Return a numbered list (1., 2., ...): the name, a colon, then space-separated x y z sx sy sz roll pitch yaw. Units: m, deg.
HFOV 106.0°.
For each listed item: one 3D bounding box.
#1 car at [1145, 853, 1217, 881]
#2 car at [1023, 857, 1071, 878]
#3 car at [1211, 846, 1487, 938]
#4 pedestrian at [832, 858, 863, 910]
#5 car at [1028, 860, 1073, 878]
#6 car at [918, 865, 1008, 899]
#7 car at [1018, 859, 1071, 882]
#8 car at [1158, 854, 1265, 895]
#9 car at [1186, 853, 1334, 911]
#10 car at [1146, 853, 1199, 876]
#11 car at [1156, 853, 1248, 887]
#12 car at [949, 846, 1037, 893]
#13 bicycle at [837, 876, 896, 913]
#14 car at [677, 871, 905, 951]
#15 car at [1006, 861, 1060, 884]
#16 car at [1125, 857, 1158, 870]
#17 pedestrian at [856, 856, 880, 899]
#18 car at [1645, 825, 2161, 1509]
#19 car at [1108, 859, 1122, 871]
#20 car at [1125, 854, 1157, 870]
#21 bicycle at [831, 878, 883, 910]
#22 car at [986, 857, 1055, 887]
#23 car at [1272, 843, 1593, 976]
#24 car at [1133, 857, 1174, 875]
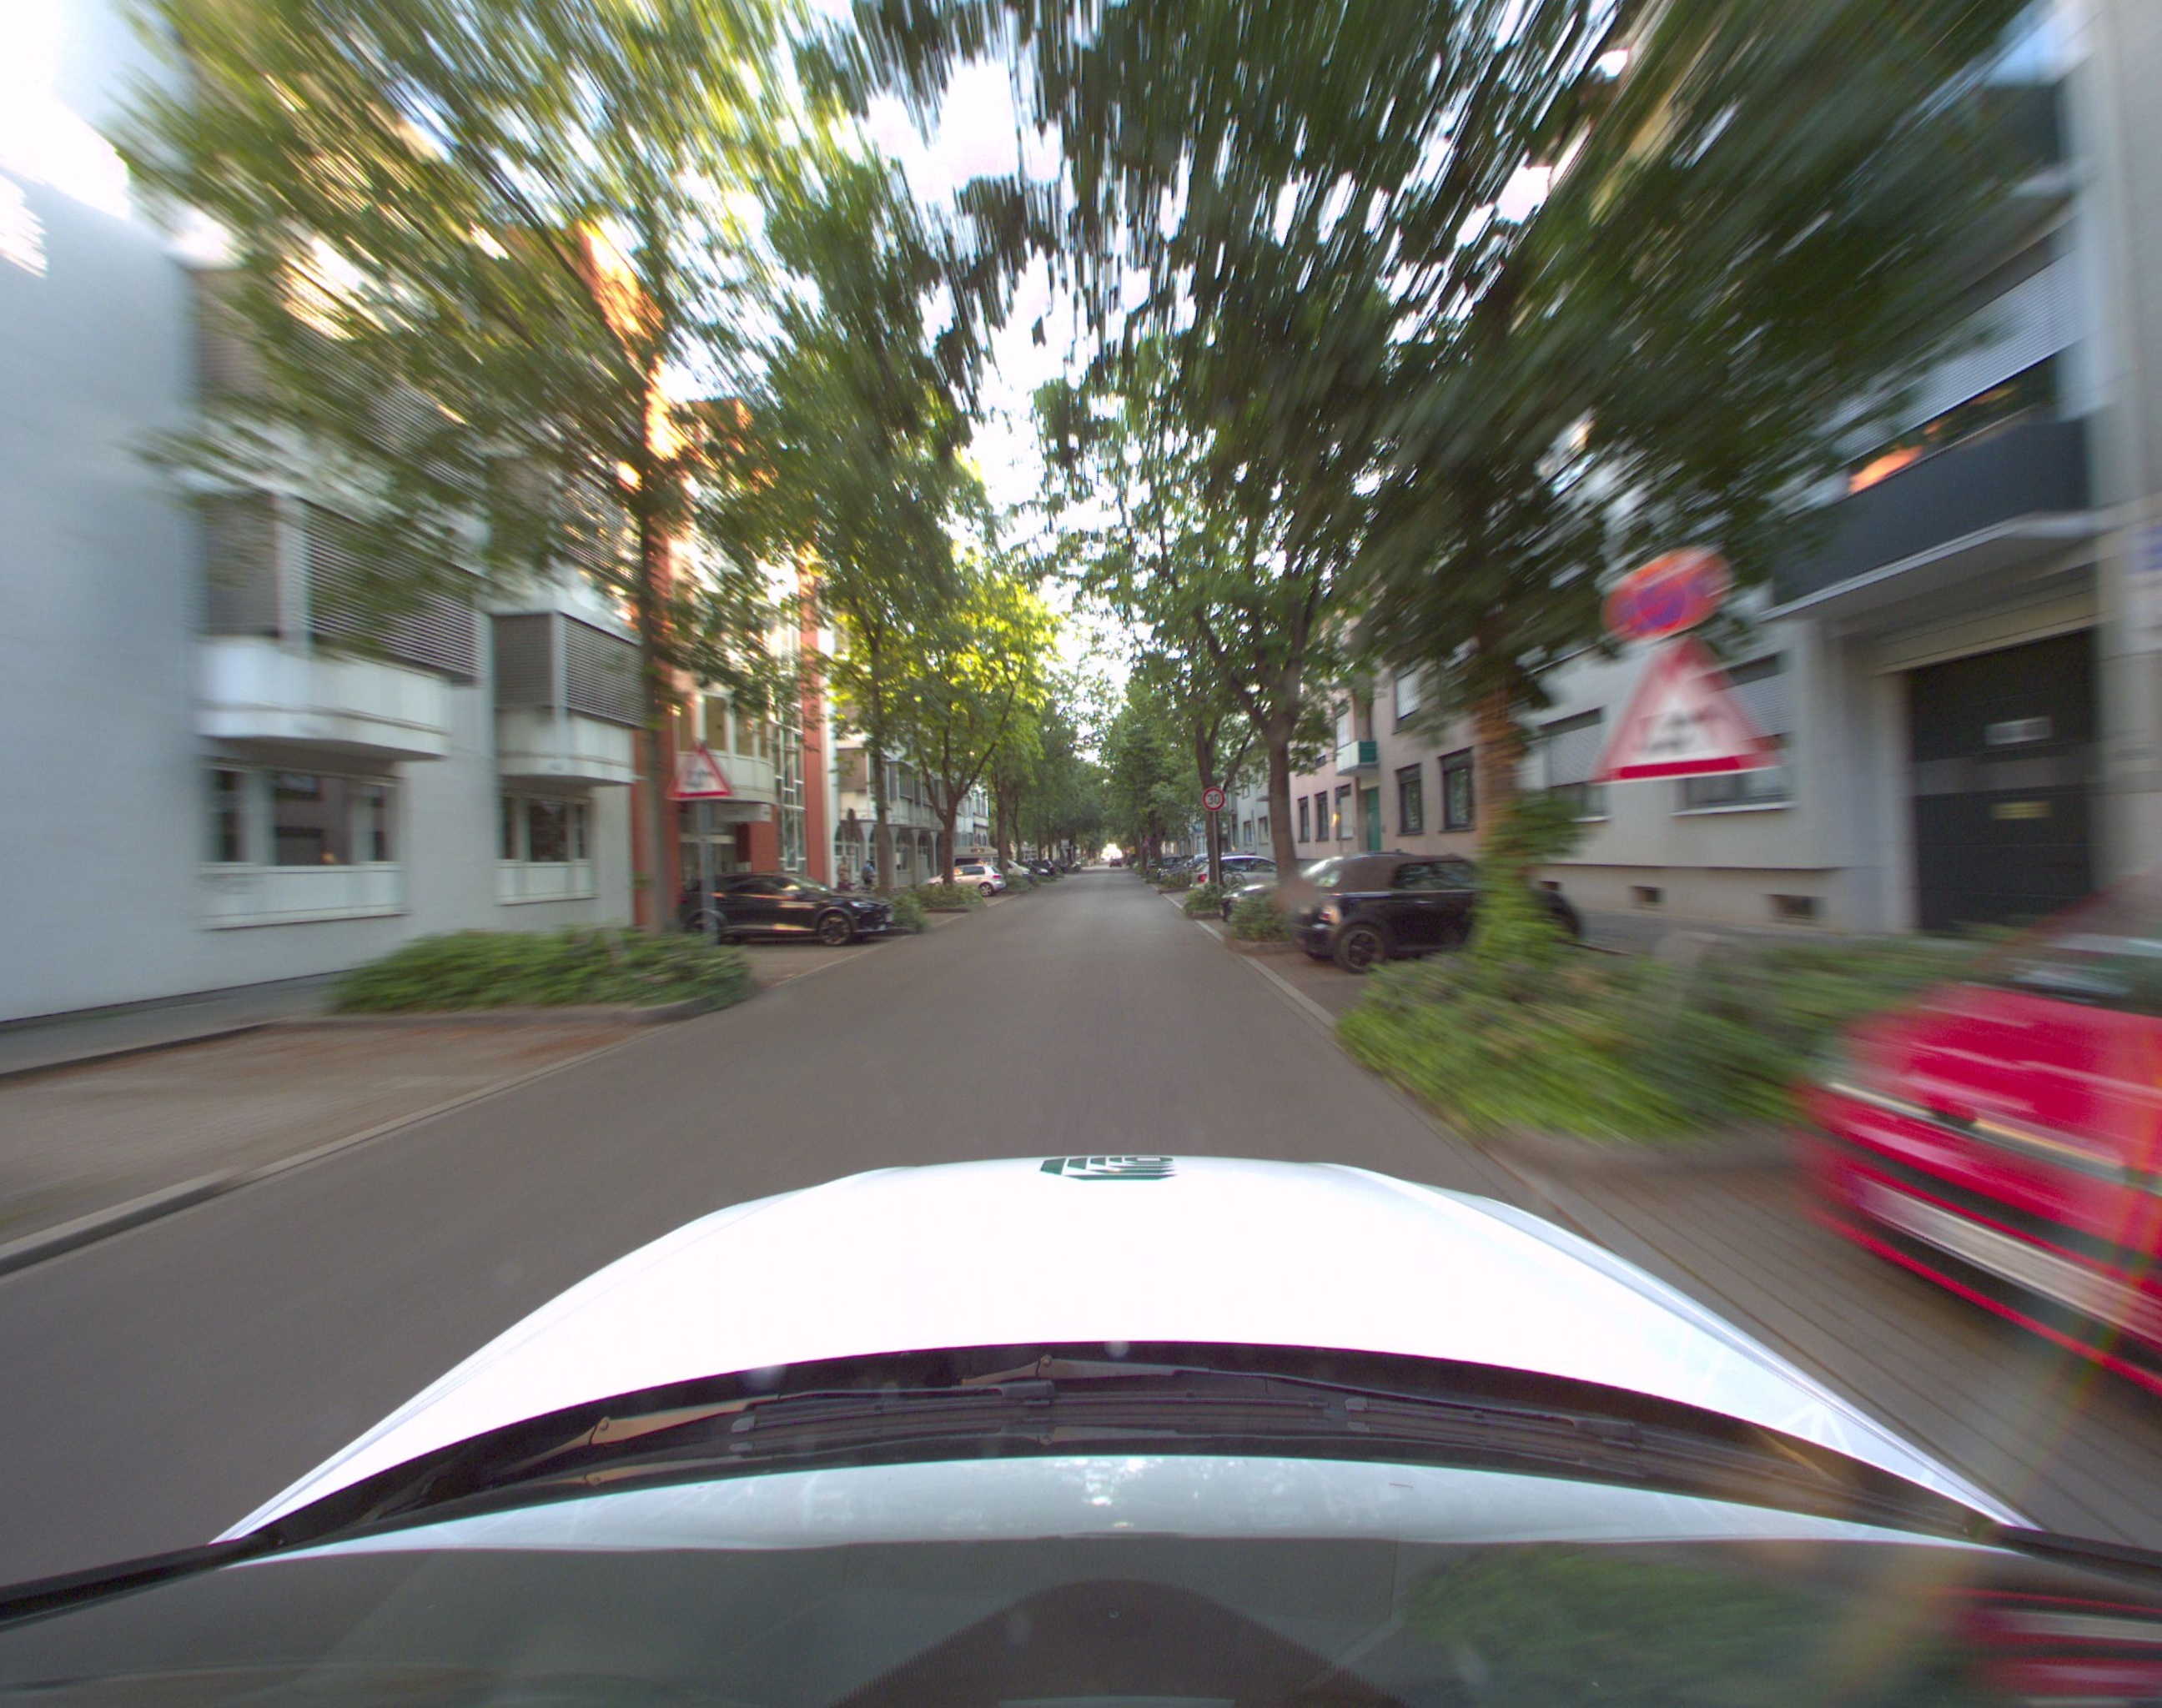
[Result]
1. car: 6.483 0.827 53.092 4.486 1.521 1.998 -4 -1 5
2. car: -3.531 1.408 85.854 4.744 1.984 1.964 -4 -1 2
3. car: 5.039 0.688 15.880 4.693 1.421 2.037 -3 0 2
4. pedestrian: -8.070 1.036 28.157 0.696 1.757 0.744 -2 -1 26
5. car: -3.301 1.657 90.170 4.744 1.630 1.964 -4 -1 2
6. car: -5.508 1.298 38.210 3.853 1.486 1.759 -1 0 4
7. car: -3.302 1.477 74.380 4.577 1.807 1.964 -4 -1 2
8. car: 5.962 0.911 37.686 4.697 1.710 1.952 -2 0 3
9. car: 5.161 0.786 23.857 3.865 1.439 1.847 -3 0 -1
10. car: 7.415 0.886 66.187 4.035 1.597 1.826 -4 -1 2
11. car: 6.506 0.838 44.170 4.664 1.521 1.964 -4 -1 2
12. car: -4.958 0.872 46.537 4.664 2.478 2.001 -2 -1 2
13. bicycle: -6.890 1.291 26.179 1.801 1.107 0.496 -1 -1 -22
14. car: -6.040 1.169 17.337 4.112 1.486 1.930 -1 0 1
15. car: -3.896 1.504 66.697 4.187 1.635 1.964 -4 -1 2
16. car: 8.053 1.286 109.232 4.252 1.565 1.964 -4 -1 2
17. pedestrian: -8.932 0.975 34.111 0.700 1.728 0.905 -2 -1 2
18. car: 4.100 0.631 2.438 3.472 1.452 1.899 -3 0 0
19. car: 5.089 1.665 121.533 1.949 1.565 4.285 -4 -1 3
20. car: 8.240 1.119 112.038 4.252 1.962 1.964 -4 -1 2
21. bicycle: -7.528 1.343 27.356 1.778 1.029 0.503 -1 -1 24
22. car: -4.356 1.308 58.981 4.664 1.854 1.964 -4 -1 2
23. car: 4.559 0.683 10.988 3.472 1.452 1.899 -3 0 0
24. car: 7.650 1.279 86.216 4.252 1.565 1.964 -4 -1 2
